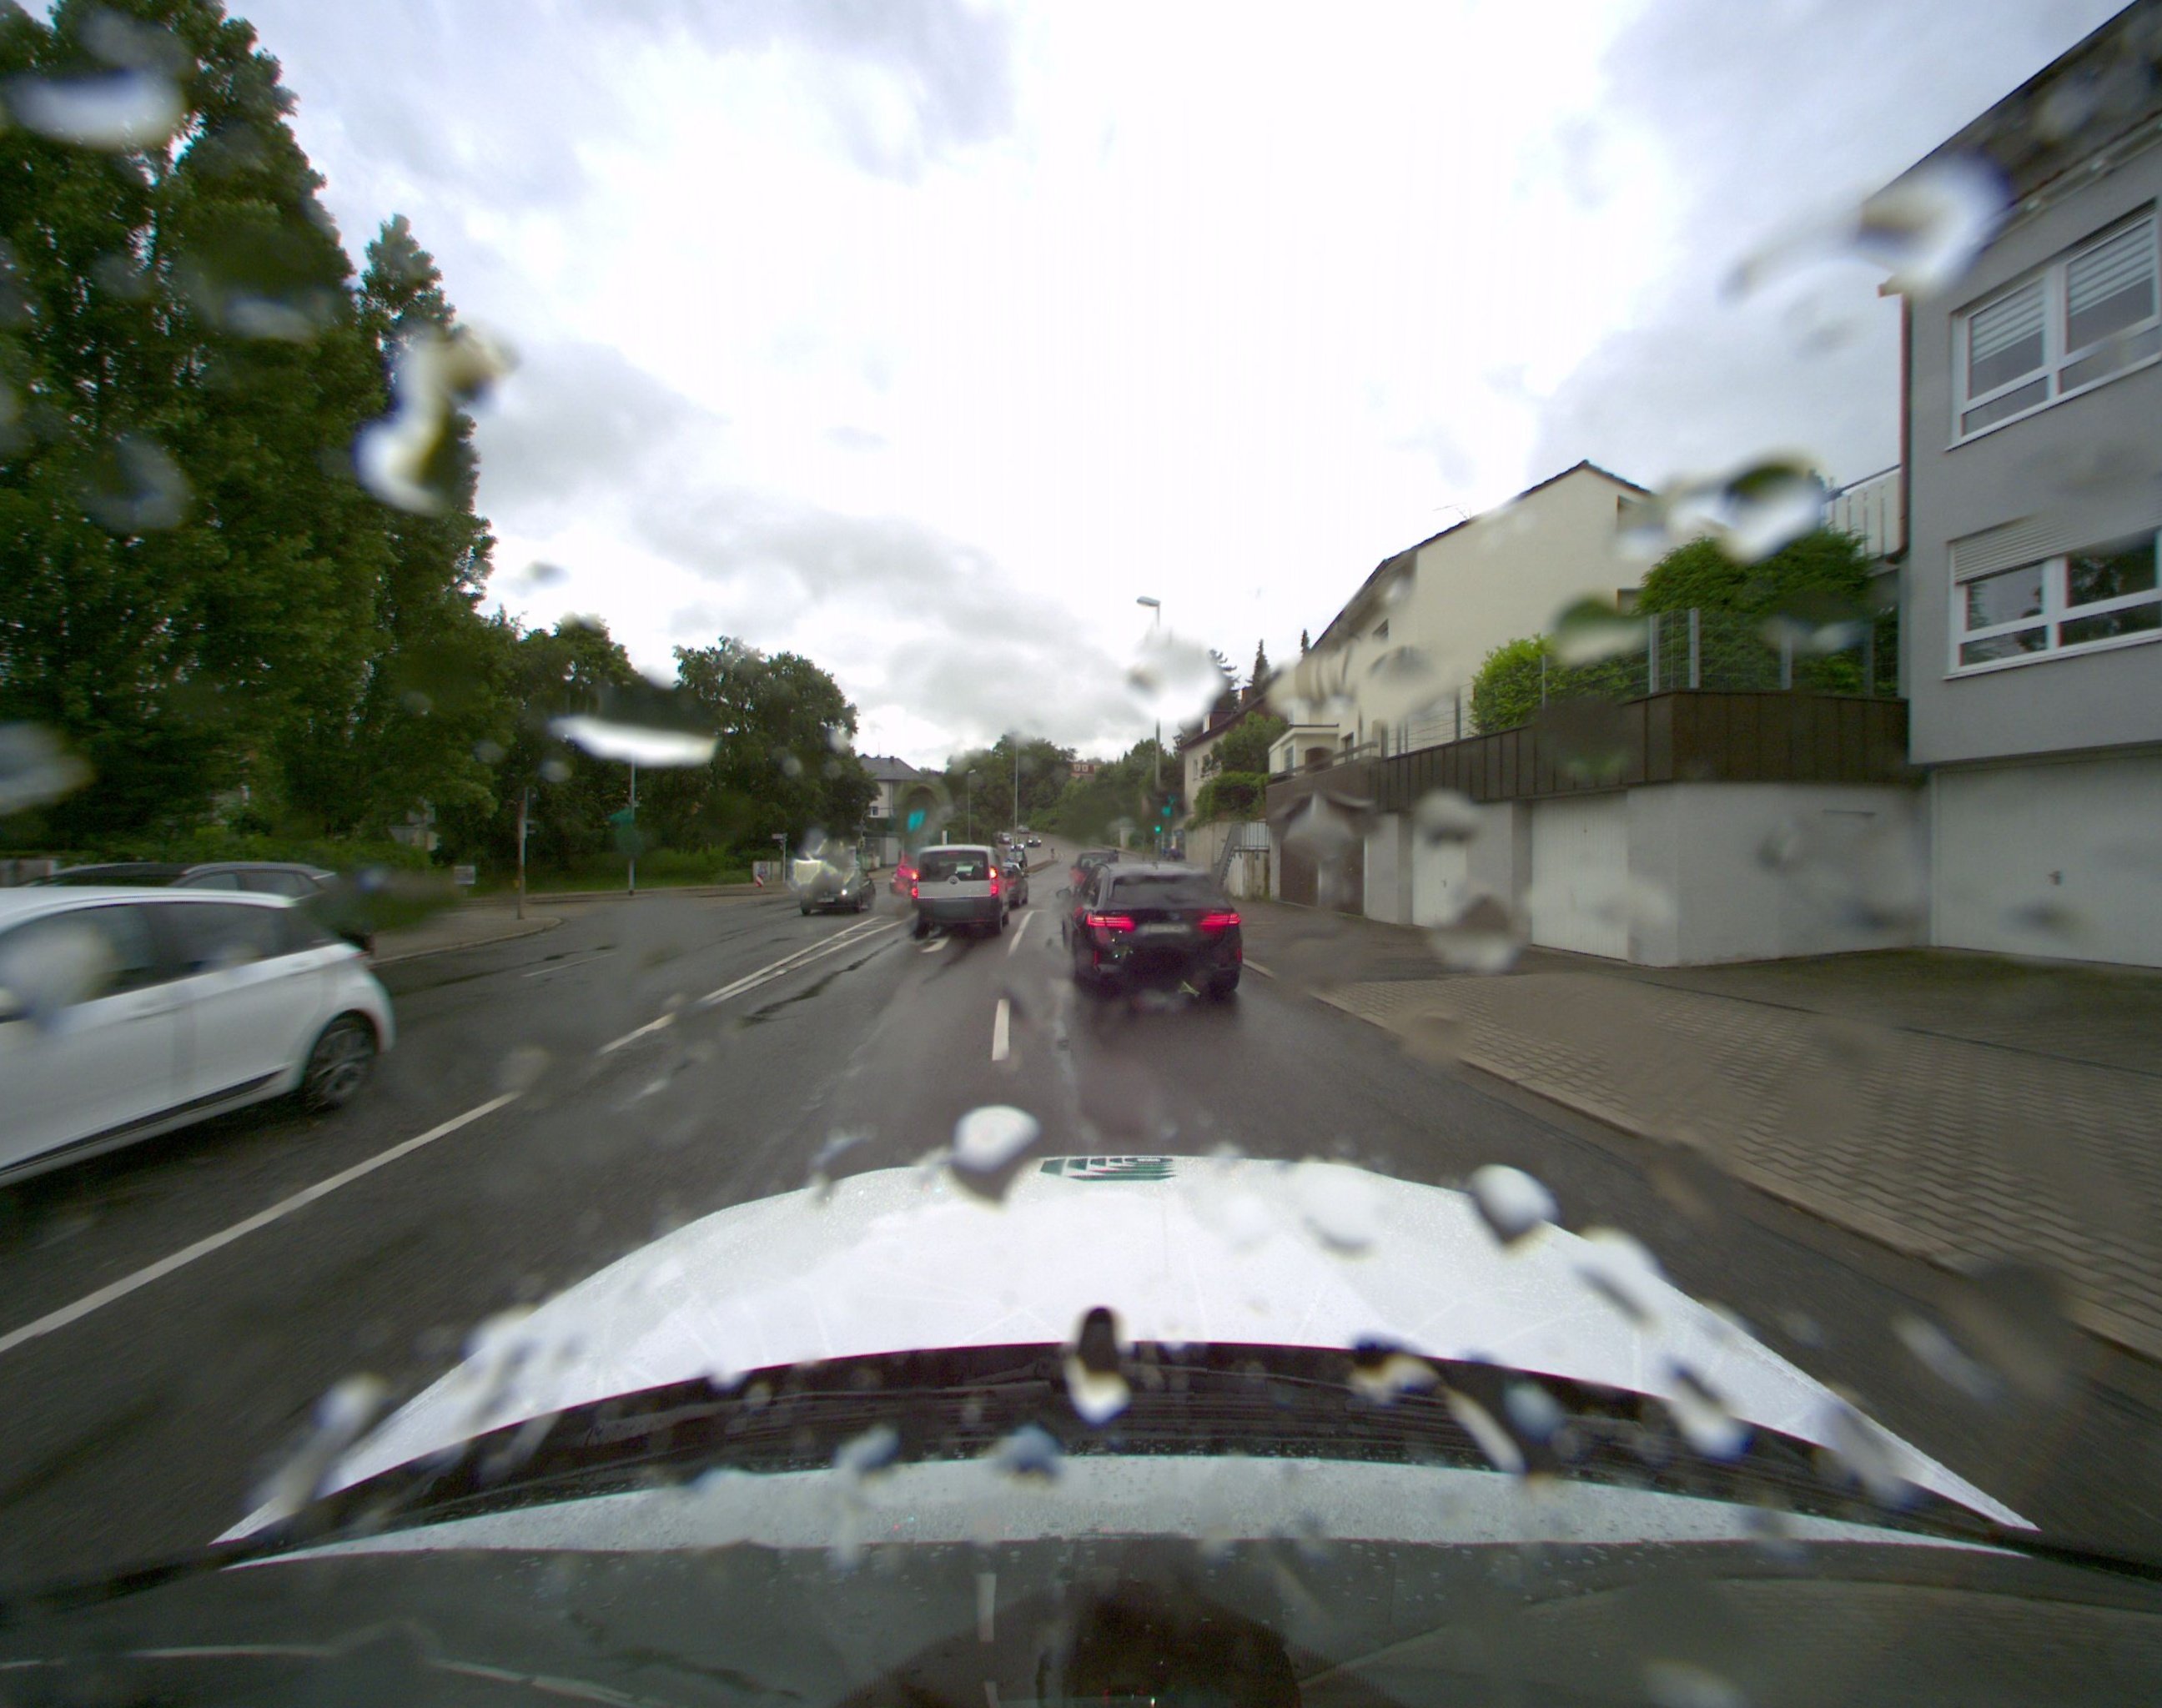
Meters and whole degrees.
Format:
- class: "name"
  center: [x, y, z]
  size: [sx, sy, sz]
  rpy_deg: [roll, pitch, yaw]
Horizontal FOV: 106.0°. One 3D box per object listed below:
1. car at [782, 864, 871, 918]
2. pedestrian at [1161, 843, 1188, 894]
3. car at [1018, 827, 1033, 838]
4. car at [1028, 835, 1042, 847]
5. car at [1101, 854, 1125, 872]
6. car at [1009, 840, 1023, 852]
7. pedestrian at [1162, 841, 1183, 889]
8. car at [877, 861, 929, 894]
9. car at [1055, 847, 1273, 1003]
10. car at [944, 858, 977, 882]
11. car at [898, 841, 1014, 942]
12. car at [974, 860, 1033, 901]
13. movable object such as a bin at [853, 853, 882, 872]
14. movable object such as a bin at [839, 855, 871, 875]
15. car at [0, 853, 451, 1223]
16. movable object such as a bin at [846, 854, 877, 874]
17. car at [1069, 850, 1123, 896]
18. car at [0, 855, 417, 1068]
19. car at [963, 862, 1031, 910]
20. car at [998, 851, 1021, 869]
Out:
- class: "car"
  center: [-7.763, 1.076, 25.176]
  size: [1.708, 1.503, 3.994]
  rpy_deg: [-1, -1, -4]
- class: "pedestrian"
  center: [3.357, 0.527, 29.233]
  size: [0.791, 1.780, 1.011]
  rpy_deg: [-2, -1, 0]
- class: "car"
  center: [-10.842, -4.119, 158.959]
  size: [1.999, 2.014, 3.975]
  rpy_deg: [-1, -1, -18]
- class: "car"
  center: [-7.010, -1.966, 124.314]
  size: [1.840, 1.552, 4.372]
  rpy_deg: [-2, 0, -8]
- class: "car"
  center: [3.124, 0.825, 79.766]
  size: [1.849, 1.662, 3.992]
  rpy_deg: [0, 1, -6]
- class: "car"
  center: [-9.251, -1.160, 115.842]
  size: [1.820, 1.657, 4.459]
  rpy_deg: [-2, 0, -4]
- class: "pedestrian"
  center: [3.900, 0.476, 34.614]
  size: [0.794, 2.014, 0.734]
  rpy_deg: [-1, -1, 0]
- class: "car"
  center: [-8.474, 1.101, 39.133]
  size: [1.849, 1.464, 3.995]
  rpy_deg: [-1, 0, -4]
- class: "car"
  center: [0.789, 0.790, 10.682]
  size: [1.991, 1.586, 4.653]
  rpy_deg: [0, -2, -5]
- class: "car"
  center: [-8.251, 1.107, 56.033]
  size: [1.832, 1.556, 4.764]
  rpy_deg: [-1, -1, -3]
- class: "car"
  center: [-2.576, 0.730, 17.883]
  size: [1.946, 1.871, 4.742]
  rpy_deg: [-1, -1, -2]
- class: "car"
  center: [-3.058, 1.037, 33.122]
  size: [1.902, 1.528, 4.651]
  rpy_deg: [-1, -1, 0]
- class: "movable object such as a bin"
  center: [-18.399, 0.731, 70.327]
  size: [2.047, 1.514, 1.346]
  rpy_deg: [-1, 1, 5]
- class: "movable object such as a bin"
  center: [-18.686, 0.882, 67.264]
  size: [2.047, 1.568, 1.584]
  rpy_deg: [-1, 1, 5]
- class: "car"
  center: [-5.465, 0.791, 4.023]
  size: [1.830, 1.530, 3.992]
  rpy_deg: [-1, -1, -6]
- class: "movable object such as a bin"
  center: [-18.551, 0.852, 68.859]
  size: [2.047, 1.568, 1.584]
  rpy_deg: [-1, 1, 5]
- class: "car"
  center: [0.551, 0.758, 33.677]
  size: [1.988, 1.748, 3.997]
  rpy_deg: [-1, -1, -2]
- class: "car"
  center: [-9.597, 0.904, 8.538]
  size: [1.802, 1.669, 4.589]
  rpy_deg: [-1, -1, -5]
- class: "car"
  center: [-2.761, 1.022, 27.586]
  size: [1.829, 1.487, 4.058]
  rpy_deg: [-1, -1, 0]
- class: "car"
  center: [-6.715, 0.572, 76.812]
  size: [1.988, 1.574, 3.996]
  rpy_deg: [-1, -1, -2]
